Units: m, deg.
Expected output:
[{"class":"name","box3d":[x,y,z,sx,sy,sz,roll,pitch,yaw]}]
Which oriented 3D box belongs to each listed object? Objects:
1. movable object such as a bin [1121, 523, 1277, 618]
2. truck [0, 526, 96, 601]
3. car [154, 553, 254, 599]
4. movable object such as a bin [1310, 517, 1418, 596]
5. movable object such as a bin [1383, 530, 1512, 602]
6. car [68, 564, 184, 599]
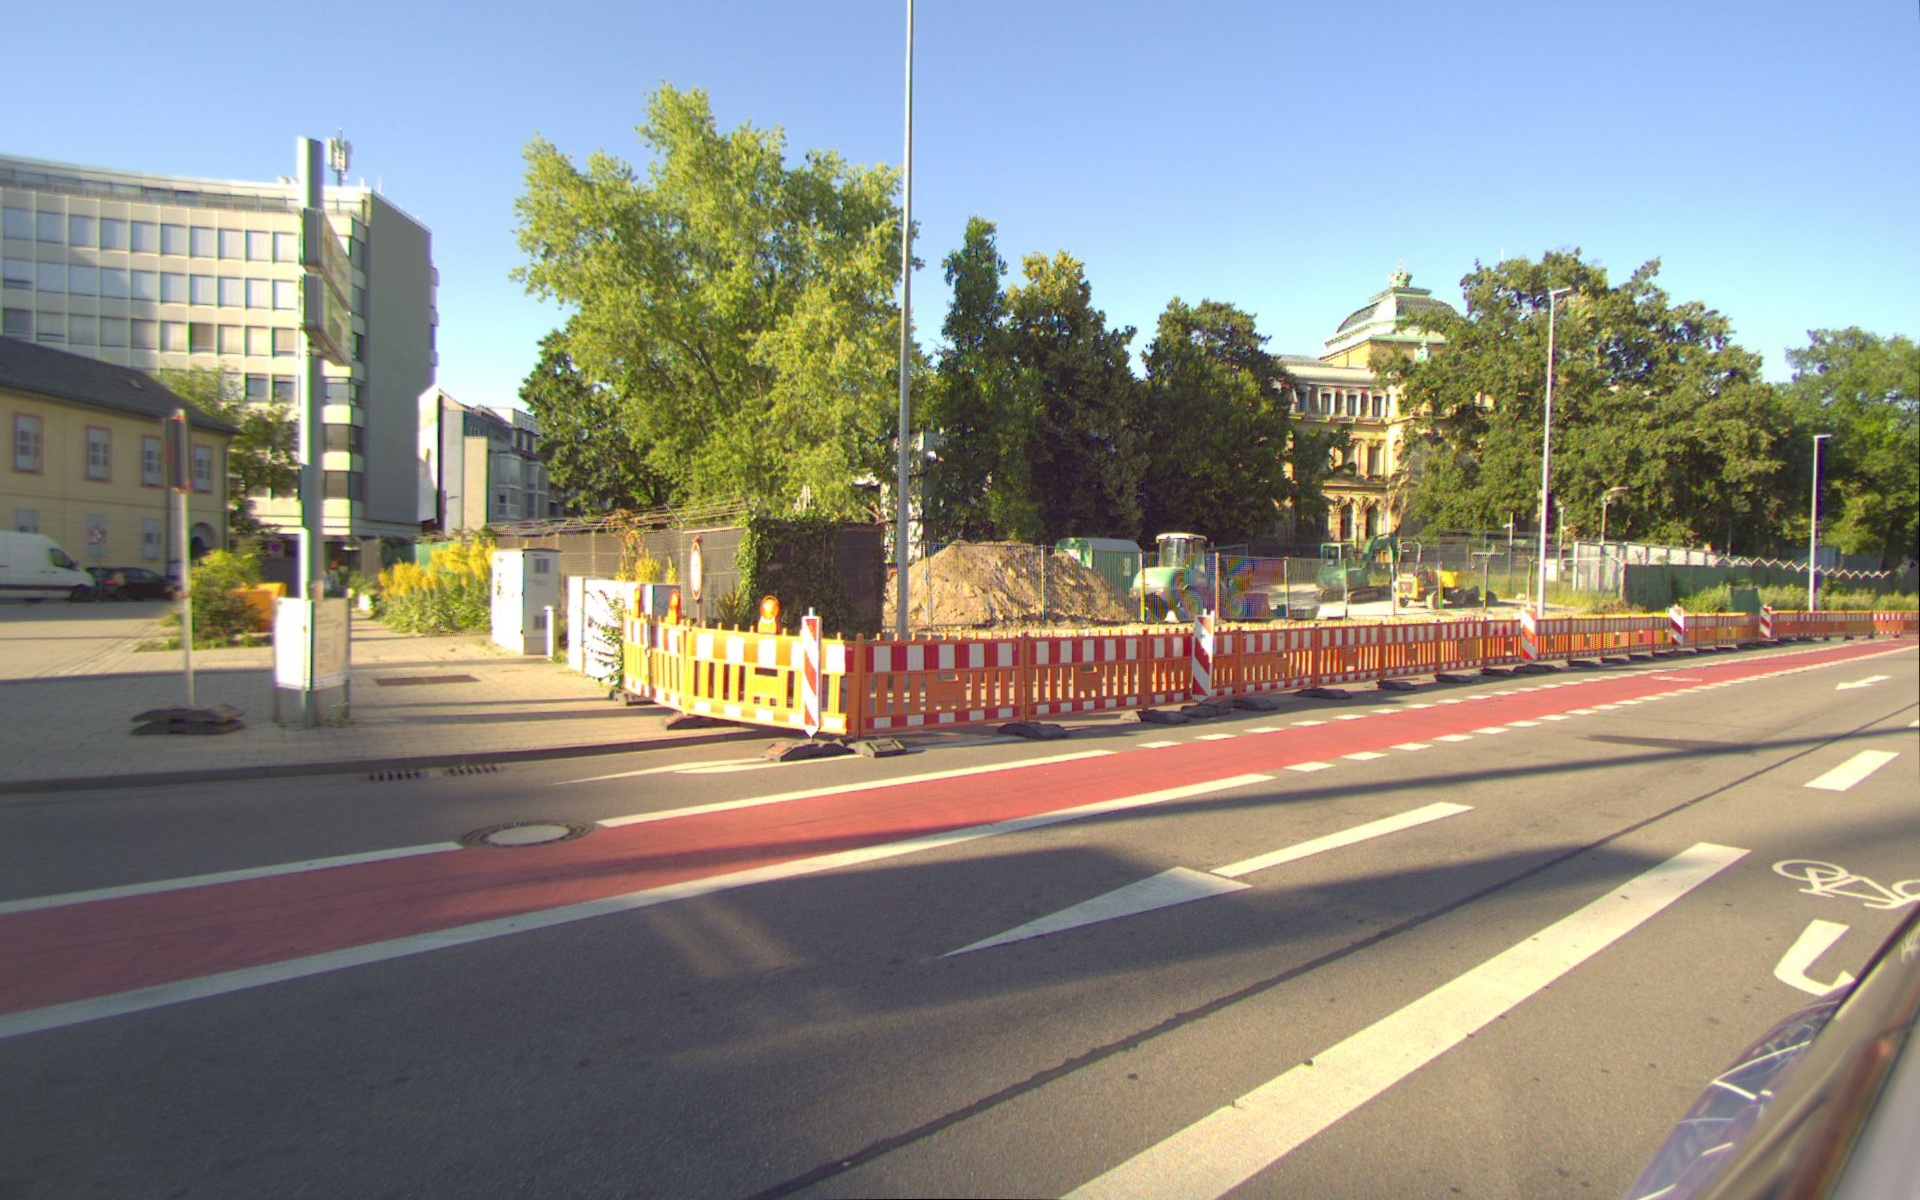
[{"class":"movable object such as a bin","box3d":[7.435,-0.877,31.293,4.920,2.717,1.999,-1,0,-36]},{"class":"truck","box3d":[-34.318,-1.257,36.056,2.258,2.581,5.638,0,0,1]},{"class":"car","box3d":[-34.398,-1.087,46.170,1.682,2.005,3.761,0,0,1]},{"class":"movable object such as a bin","box3d":[18.156,-1.873,45.373,5.274,3.371,1.999,-1,0,-36]},{"class":"movable object such as a bin","box3d":[20.423,-1.368,42.354,5.750,2.852,2.002,-1,0,-30]},{"class":"car","box3d":[-34.344,-0.734,41.815,1.682,1.382,3.761,0,0,1]}]
